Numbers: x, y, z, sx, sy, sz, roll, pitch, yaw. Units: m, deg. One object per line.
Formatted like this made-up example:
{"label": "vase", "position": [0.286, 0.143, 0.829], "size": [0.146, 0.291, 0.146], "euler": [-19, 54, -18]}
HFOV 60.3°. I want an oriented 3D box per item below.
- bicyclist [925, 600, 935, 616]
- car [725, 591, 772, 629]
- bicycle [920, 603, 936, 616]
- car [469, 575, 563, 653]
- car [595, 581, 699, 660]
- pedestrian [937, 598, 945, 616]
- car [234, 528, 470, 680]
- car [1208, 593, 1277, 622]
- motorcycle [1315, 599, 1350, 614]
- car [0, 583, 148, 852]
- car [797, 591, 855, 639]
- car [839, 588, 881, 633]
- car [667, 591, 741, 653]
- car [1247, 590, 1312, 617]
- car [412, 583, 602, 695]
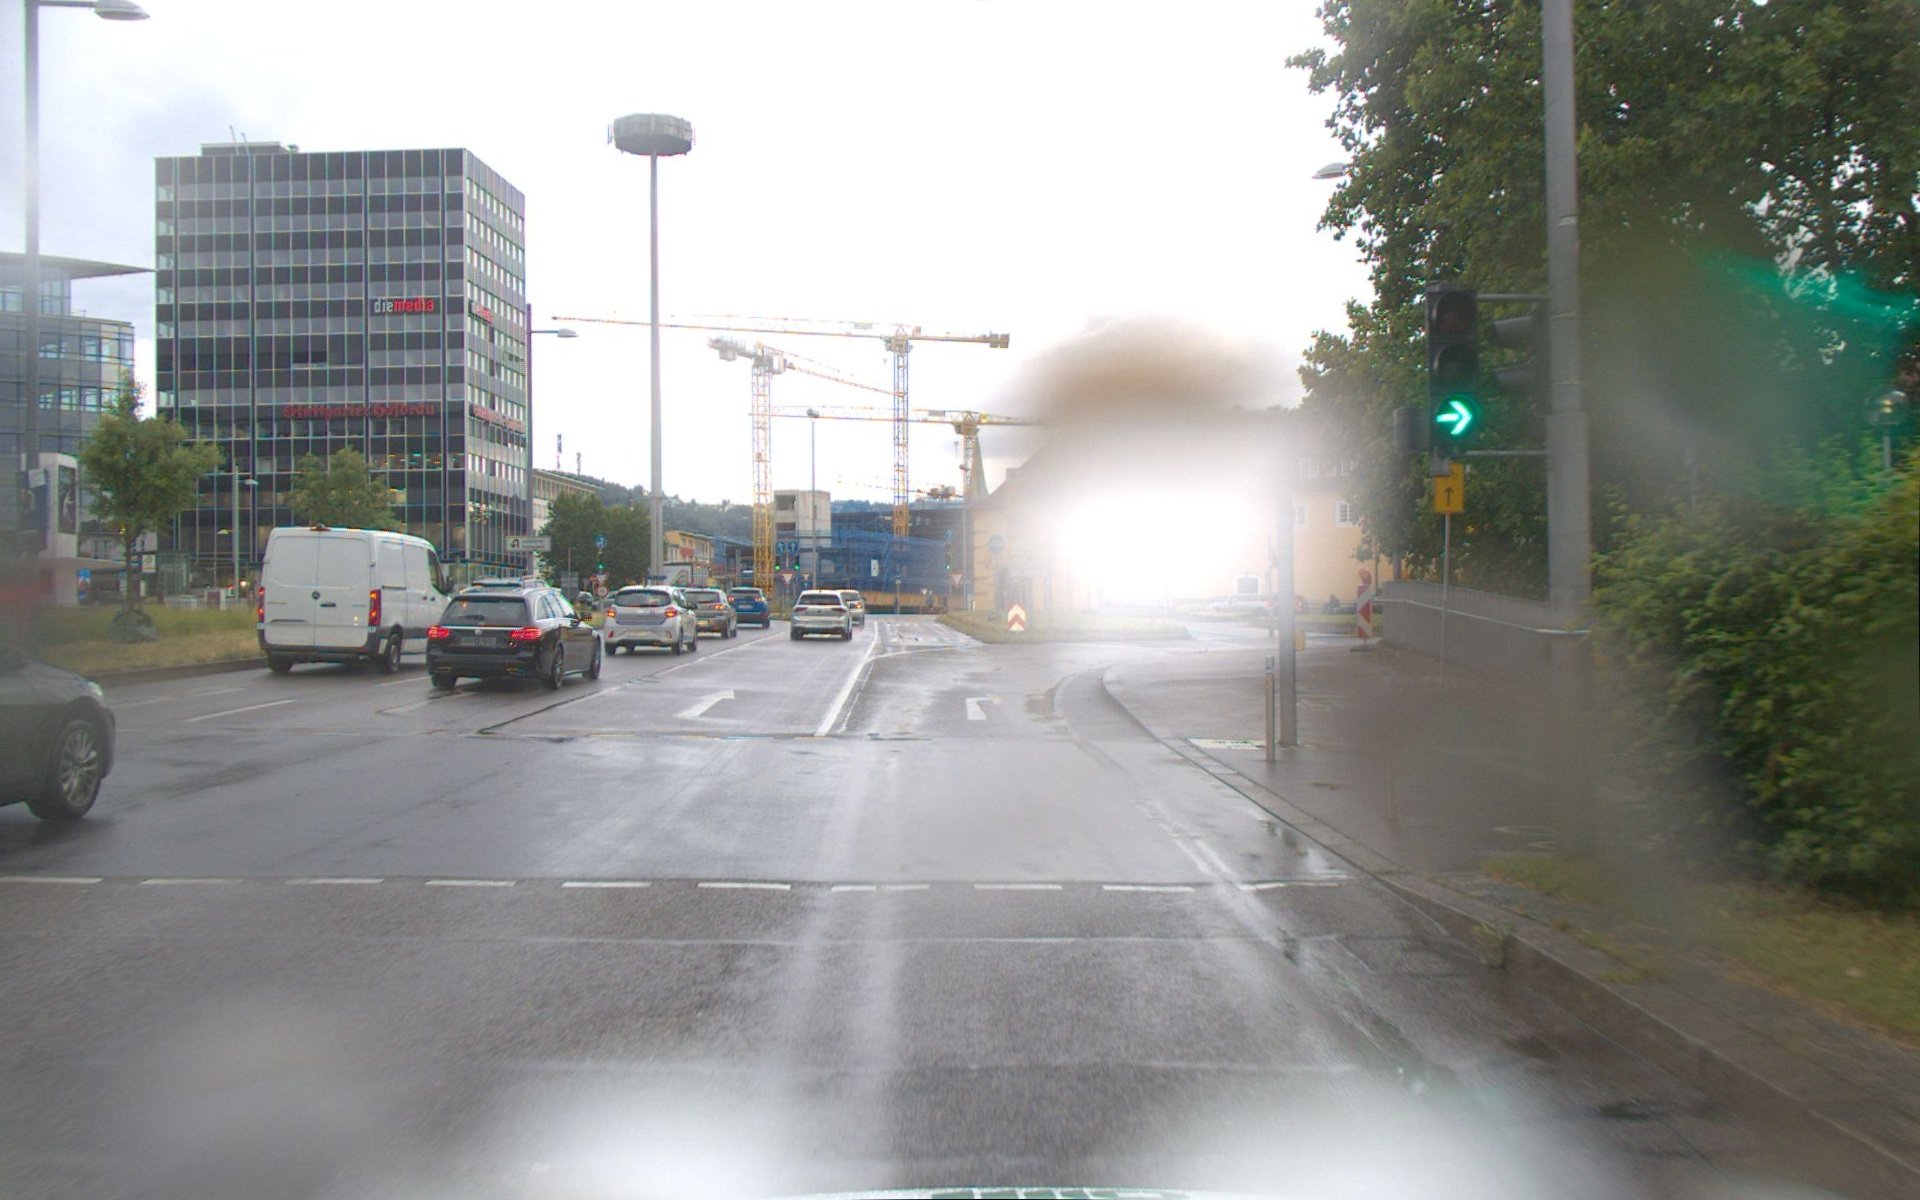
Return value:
{"label": "bicyclist", "position": [-2.472, 0.622, 135.820], "size": [0.692, 1.298, 0.632], "euler": [1, -2, -17]}
{"label": "car", "position": [-8.055, 0.394, 63.173], "size": [1.463, 1.393, 3.032], "euler": [0, -1, -1]}
{"label": "bicycle", "position": [-2.643, 0.767, 136.121], "size": [0.866, 1.027, 1.984], "euler": [1, -1, -16]}
{"label": "car", "position": [-10.210, 0.346, 38.200], "size": [1.435, 1.736, 3.139], "euler": [0, -1, -3]}
{"label": "car", "position": [-6.955, 0.471, 37.044], "size": [1.843, 1.682, 3.455], "euler": [0, -1, -4]}
{"label": "pedestrian", "position": [-1.482, 0.536, 128.347], "size": [0.447, 1.392, 0.442], "euler": [-1, -2, 37]}
{"label": "car", "position": [-10.253, 0.118, 28.403], "size": [2.246, 2.355, 5.004], "euler": [0, -1, -1]}
{"label": "car", "position": [15.235, 0.423, 89.082], "size": [3.334, 1.508, 1.834], "euler": [0, -2, 25]}
{"label": "motorcycle", "position": [21.465, 0.395, 95.378], "size": [1.923, 0.867, 0.546], "euler": [0, -2, 22]}
{"label": "car", "position": [-6.202, 0.659, 8.868], "size": [1.718, 1.497, 4.221], "euler": [0, 1, -2]}
{"label": "car", "position": [-3.935, 0.454, 48.939], "size": [1.414, 1.383, 2.412], "euler": [0, -1, 2]}
{"label": "car", "position": [-4.237, 0.438, 70.483], "size": [1.633, 1.772, 3.287], "euler": [1, 2, -1]}
{"label": "car", "position": [-7.535, 0.658, 48.977], "size": [1.681, 1.758, 3.493], "euler": [0, -1, -1]}
{"label": "car", "position": [18.129, 0.192, 93.899], "size": [3.330, 1.498, 1.652], "euler": [0, -1, 23]}
{"label": "car", "position": [-6.550, 0.523, 24.269], "size": [1.792, 1.521, 3.399], "euler": [0, 0, 1]}
